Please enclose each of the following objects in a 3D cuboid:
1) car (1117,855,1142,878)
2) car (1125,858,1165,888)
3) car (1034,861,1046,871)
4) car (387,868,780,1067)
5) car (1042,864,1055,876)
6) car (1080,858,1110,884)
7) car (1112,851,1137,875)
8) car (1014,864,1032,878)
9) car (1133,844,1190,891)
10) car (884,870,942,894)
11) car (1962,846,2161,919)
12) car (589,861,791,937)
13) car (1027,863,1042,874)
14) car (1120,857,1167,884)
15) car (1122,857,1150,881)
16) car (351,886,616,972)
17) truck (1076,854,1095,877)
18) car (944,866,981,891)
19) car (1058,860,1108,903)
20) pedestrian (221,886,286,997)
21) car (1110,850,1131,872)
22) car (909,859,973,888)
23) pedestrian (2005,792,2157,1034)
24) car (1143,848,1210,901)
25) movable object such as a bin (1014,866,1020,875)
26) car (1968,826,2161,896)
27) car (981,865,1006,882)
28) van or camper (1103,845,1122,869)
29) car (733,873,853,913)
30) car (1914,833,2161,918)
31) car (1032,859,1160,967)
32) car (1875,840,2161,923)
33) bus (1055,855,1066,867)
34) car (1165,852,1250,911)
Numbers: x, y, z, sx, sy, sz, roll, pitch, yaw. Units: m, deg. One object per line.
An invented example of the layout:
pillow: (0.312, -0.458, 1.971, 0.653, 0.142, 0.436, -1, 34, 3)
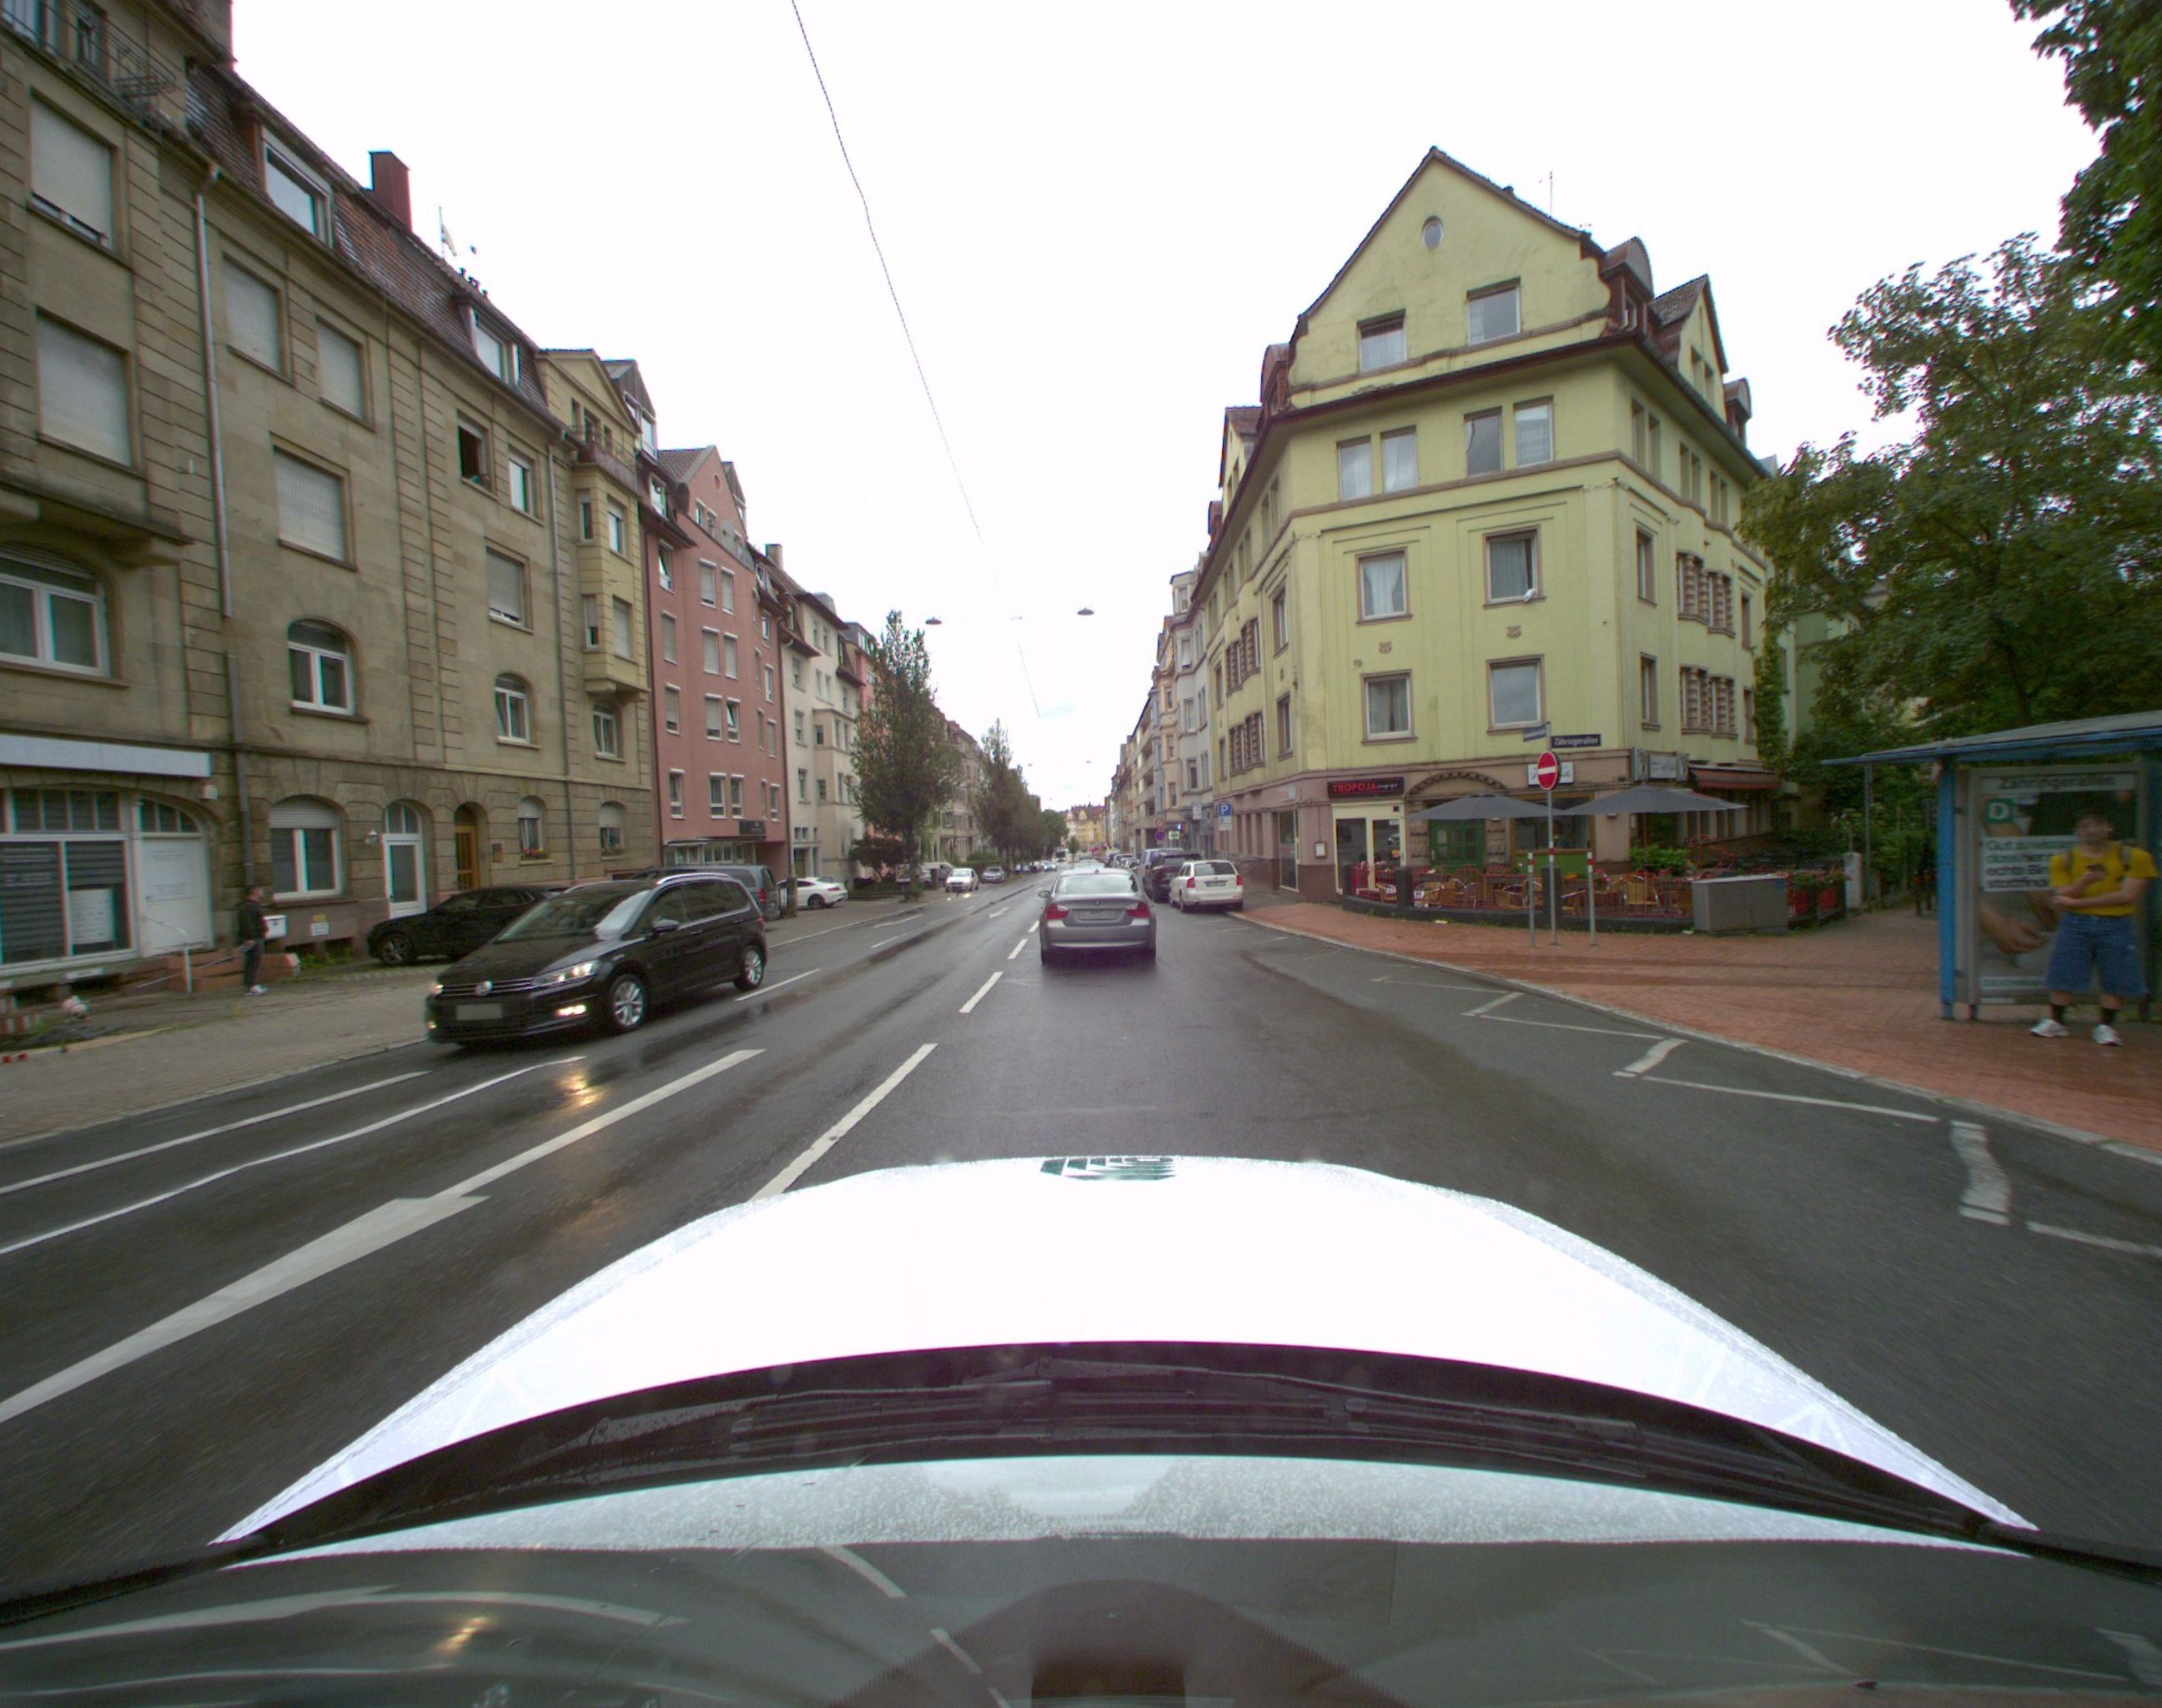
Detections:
car: (3.995, 1.015, 67.110, 1.720, 1.670, 4.288, -5, -1, 0)
car: (3.162, 0.924, 41.085, 1.672, 1.375, 4.275, -2, -1, 0)
car: (-7.085, 2.065, 142.527, 1.685, 1.523, 3.737, -5, -1, 1)
car: (-5.377, 1.076, 9.653, 1.614, 1.649, 4.423, -6, -1, 3)
car: (-4.668, 2.313, 117.305, 1.631, 1.508, 3.754, -6, -1, 0)
car: (0.820, 1.027, 48.727, 1.692, 1.483, 3.792, -1, -1, 0)
car: (3.921, 0.803, 74.086, 1.975, 2.007, 4.624, -4, -1, 0)
car: (-7.126, 2.050, 100.498, 1.761, 1.594, 3.998, -5, -1, -1)
car: (3.445, 0.583, 35.790, 1.913, 1.827, 5.008, -4, -1, 0)
car: (-12.078, 1.982, 58.640, 3.878, 1.457, 1.787, -4, -1, -8)
car: (25.540, 0.680, 20.825, 1.802, 1.727, 3.954, 0, 0, -39)
car: (-10.686, 1.188, 22.582, 4.674, 1.939, 1.857, -1, 0, -10)
car: (-6.933, 2.165, 122.355, 1.821, 1.523, 3.737, -5, -1, 1)
car: (3.559, 0.965, 47.177, 1.873, 1.467, 4.764, -1, -1, -6)
car: (3.608, 0.984, 53.787, 1.606, 1.475, 4.015, -2, -1, 0)
car: (-12.482, 1.536, 17.221, 4.134, 1.510, 1.873, -2, 0, 0)
truck: (0.492, 1.258, 89.458, 2.025, 2.413, 4.825, -1, -1, 0)
car: (-7.562, 1.561, 52.433, 1.615, 1.446, 4.006, -3, -1, 1)
car: (0.135, 0.987, 29.731, 1.675, 1.428, 3.742, -1, -1, 1)
pedestrian: (-13.640, 1.425, 13.431, 0.474, 1.777, 0.567, -1, -1, 8)
car: (4.264, 0.760, 88.759, 1.975, 2.166, 4.749, -4, -1, 0)
car: (-11.482, 1.593, 66.940, 4.813, 1.974, 2.047, -4, -1, 0)
pedestrian: (7.773, 0.435, 6.357, 0.553, 1.775, 0.549, -1, -1, 28)
car: (3.383, 0.731, 29.684, 1.872, 1.731, 4.676, -1, -1, 0)
movable object such as a bin: (-6.929, 1.749, 88.251, 0.575, 0.912, 0.637, -4, -1, -14)
car: (27.598, 0.191, 22.582, 1.802, 1.789, 3.954, 0, 0, -39)
car: (-7.729, 1.722, 72.098, 1.720, 1.484, 3.989, -1, -1, 1)
van or camper: (3.886, 0.380, 99.283, 2.024, 2.869, 6.892, 0, -1, 4)
car: (-12.549, 1.682, 35.719, 4.534, 1.401, 1.767, -4, -1, -1)
car: (21.562, 0.447, 18.209, 1.802, 1.727, 3.954, 0, 0, -39)
car: (0.267, 0.838, 13.228, 1.763, 1.428, 3.742, -1, 0, 2)
car: (19.720, 0.524, 16.808, 1.802, 1.528, 4.594, 0, 0, -39)
bus: (-5.743, 1.927, 229.880, 2.660, 3.024, 7.669, -4, -1, 0)
car: (3.661, 0.788, 24.352, 1.793, 1.565, 4.491, -1, -1, -1)
